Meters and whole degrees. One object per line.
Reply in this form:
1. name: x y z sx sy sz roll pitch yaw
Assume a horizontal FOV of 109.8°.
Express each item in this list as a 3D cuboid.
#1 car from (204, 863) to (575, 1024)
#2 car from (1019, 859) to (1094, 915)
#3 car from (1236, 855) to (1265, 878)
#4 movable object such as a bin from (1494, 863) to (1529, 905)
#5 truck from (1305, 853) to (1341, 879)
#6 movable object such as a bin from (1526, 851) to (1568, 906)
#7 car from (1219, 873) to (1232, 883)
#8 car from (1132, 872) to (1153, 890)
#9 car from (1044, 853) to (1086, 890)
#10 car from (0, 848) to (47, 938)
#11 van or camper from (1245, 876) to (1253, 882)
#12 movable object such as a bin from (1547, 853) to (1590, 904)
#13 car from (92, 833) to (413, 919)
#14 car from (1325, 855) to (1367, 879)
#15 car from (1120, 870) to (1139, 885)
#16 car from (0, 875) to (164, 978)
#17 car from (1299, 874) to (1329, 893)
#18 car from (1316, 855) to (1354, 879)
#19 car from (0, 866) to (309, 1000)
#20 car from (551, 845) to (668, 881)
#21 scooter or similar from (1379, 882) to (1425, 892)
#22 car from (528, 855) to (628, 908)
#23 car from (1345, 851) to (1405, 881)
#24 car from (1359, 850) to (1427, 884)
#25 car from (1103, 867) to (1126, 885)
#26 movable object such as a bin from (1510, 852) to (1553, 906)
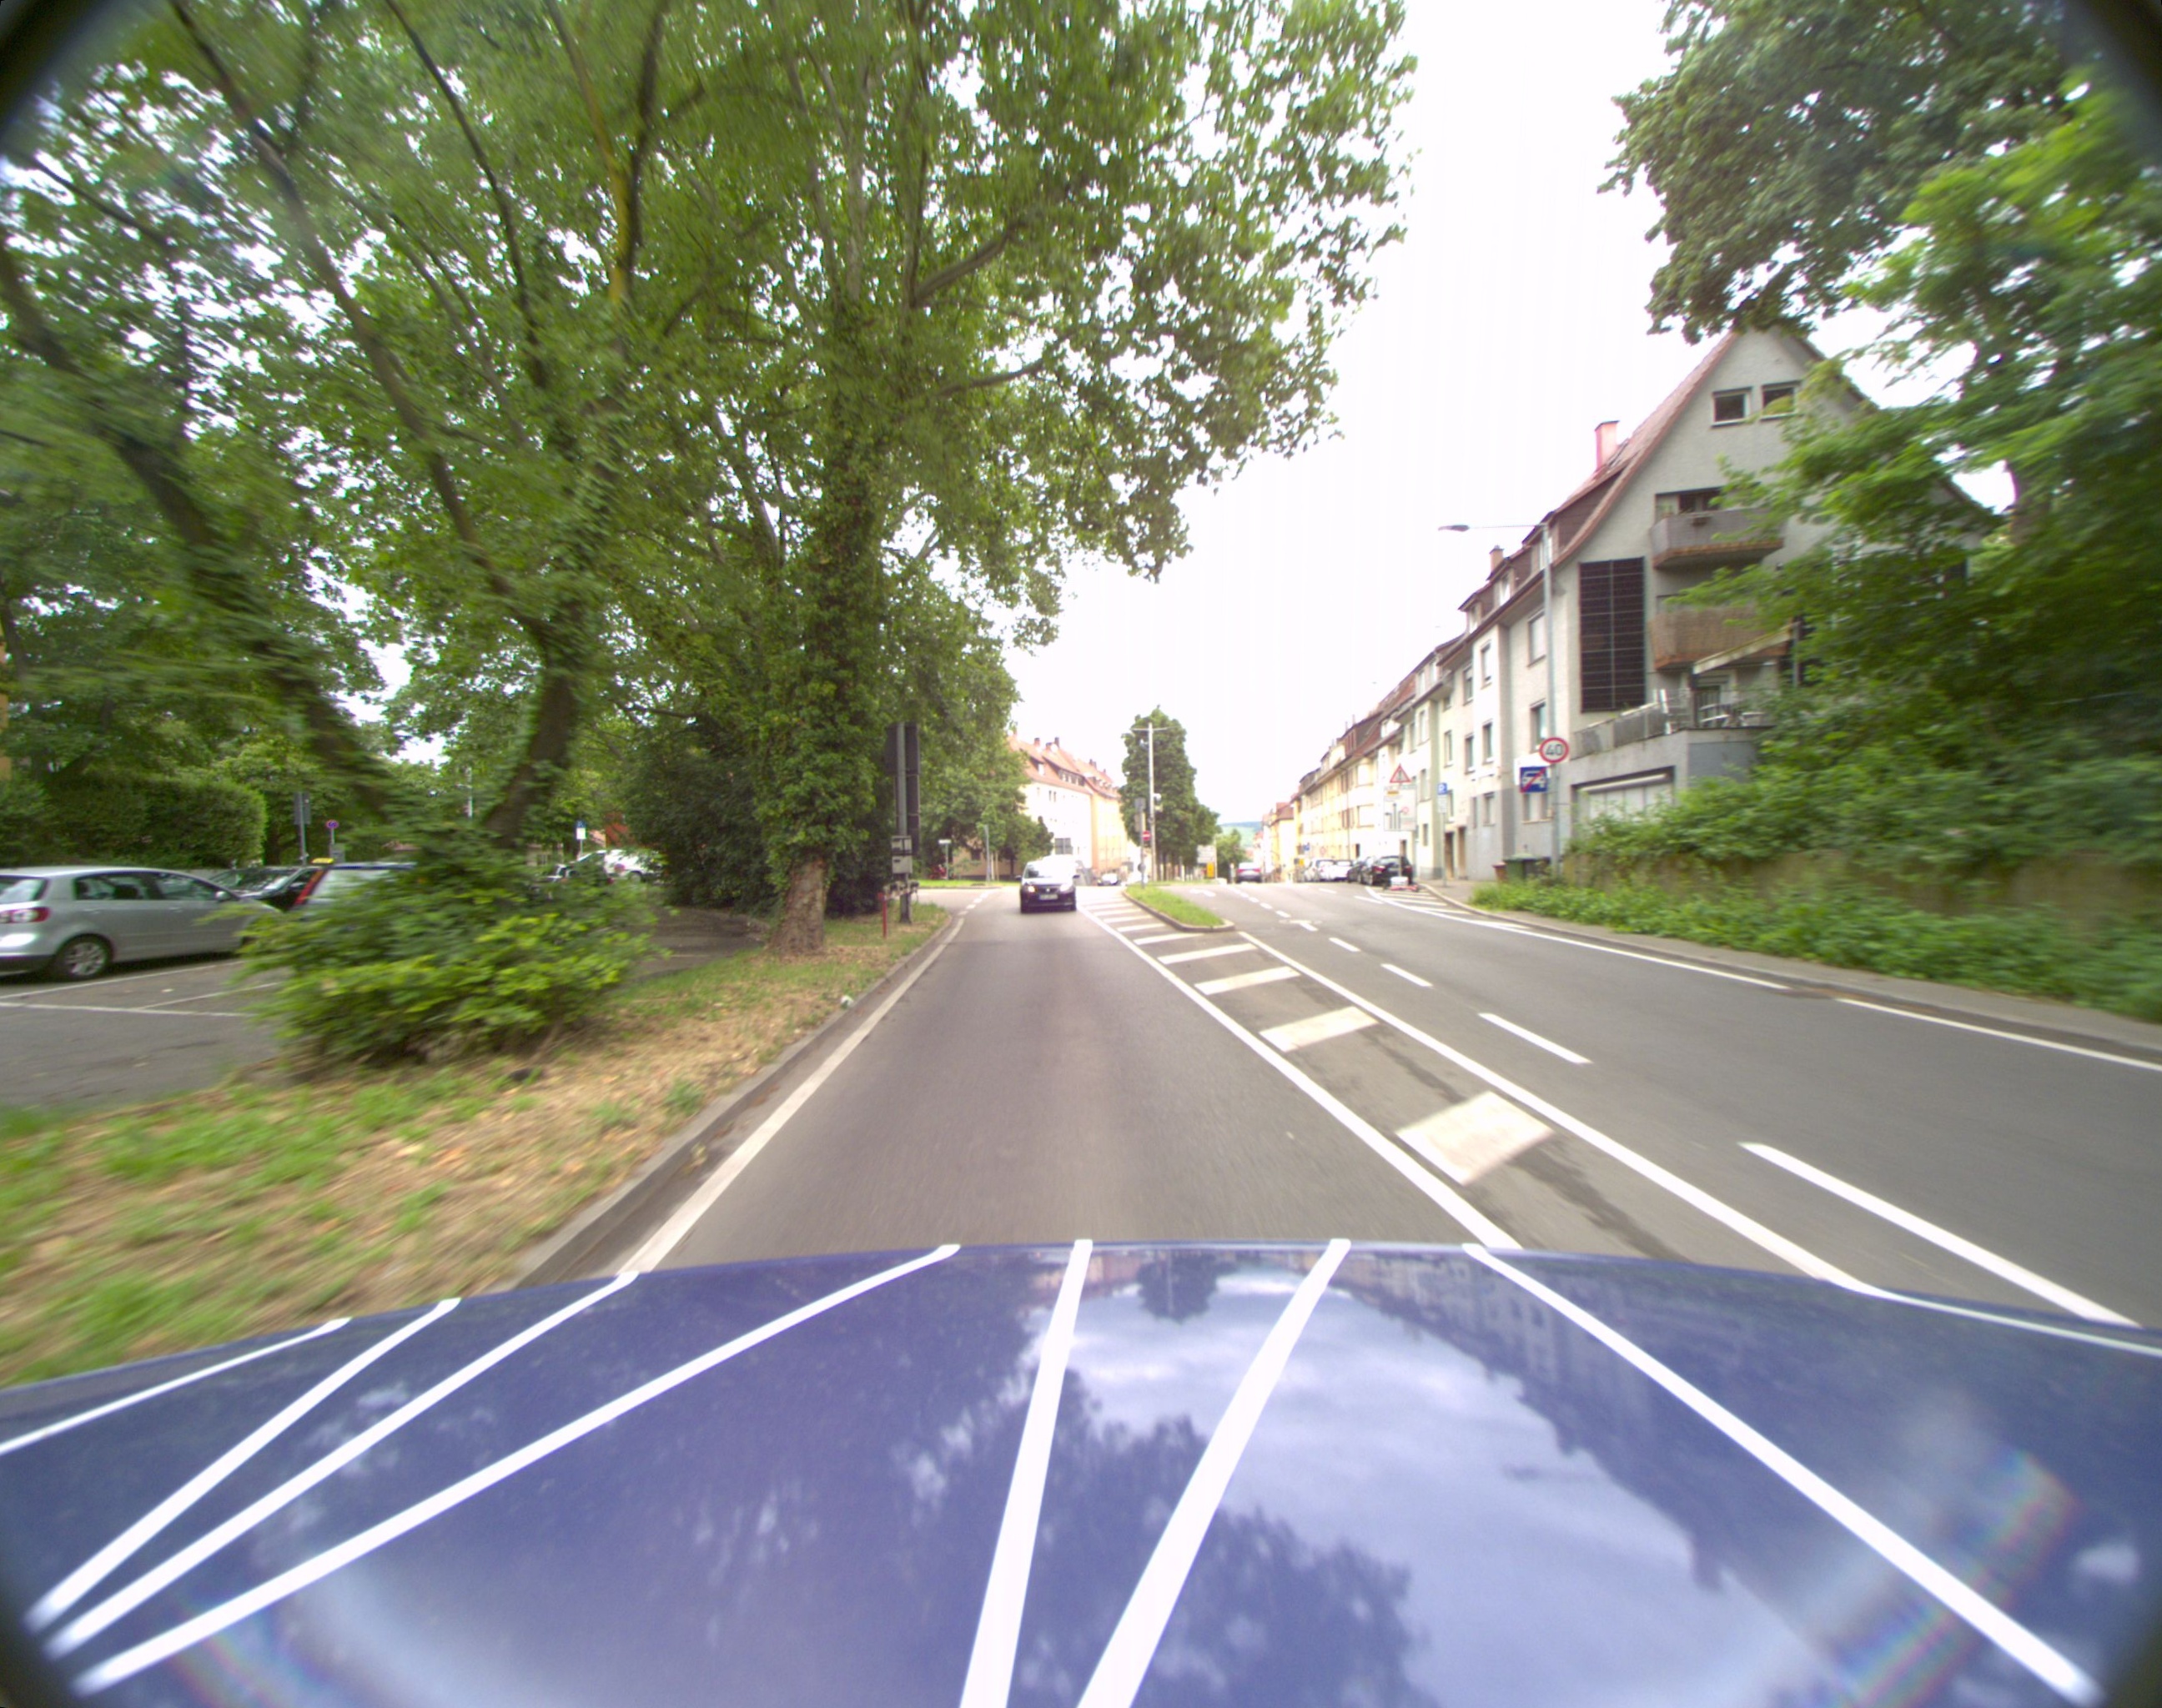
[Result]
1. car: -9.407 1.032 11.036 1.815 1.655 4.878 0 1 -13
2. car: -0.656 0.941 22.893 1.603 1.448 3.687 -3 0 8
3. car: 13.532 0.968 60.881 1.873 1.688 4.939 -1 0 8
4. movable object such as a bin: 10.324 0.723 18.237 0.517 0.961 0.444 -4 0 -4
5. truck: 18.882 1.011 59.414 1.997 1.908 5.354 -1 -2 11
6. movable object such as a bin: 10.377 0.546 16.945 0.582 1.178 0.430 -4 0 -4
7. car: 21.635 3.653 113.808 1.748 1.458 4.592 -2 -3 11
8. car: 6.103 2.640 75.006 1.782 1.583 3.537 1 -1 10
9. car: -0.853 0.839 37.848 1.780 1.598 4.161 -3 1 -4
10. car: -23.627 0.867 14.317 1.999 1.875 4.598 0 1 -2
11. van or camper: 46.093 6.899 208.425 1.911 1.750 4.661 -2 -3 12
12. movable object such as a bin: 10.347 0.511 16.140 0.557 1.019 0.430 -4 0 -4
13. car: -17.278 0.409 16.347 2.000 1.569 4.901 0 0 -8
14. car: 16.956 0.870 48.789 1.997 1.465 4.163 -1 -2 12
15. car: 5.554 2.659 86.324 1.782 1.583 3.537 1 -1 10
16. car: -16.849 1.108 11.340 1.738 1.420 4.126 1 0 -9
17. car: 20.022 2.524 65.392 1.997 1.543 4.163 -1 -2 11
18. car: 17.927 0.960 53.813 1.997 1.543 4.387 -1 -2 11
19. car: -14.504 1.027 11.480 1.737 1.560 4.128 1 0 -6
20. car: -24.472 0.474 39.630 4.847 1.779 1.787 0 0 -16
21. scooter or similar: 11.414 1.172 27.066 1.127 0.286 1.099 0 0 -4
22. car: -17.313 0.905 26.082 4.412 1.476 1.867 4 0 44
23. car: 15.294 0.668 39.712 1.997 1.414 4.216 -1 -2 8
24. car: 13.934 0.622 34.216 1.997 1.392 4.523 -1 -2 12
25. car: 3.167 2.077 71.518 1.782 1.583 3.537 1 -1 10
26. movable object such as a bin: 10.377 0.569 17.517 0.606 1.178 0.492 -4 0 -4
